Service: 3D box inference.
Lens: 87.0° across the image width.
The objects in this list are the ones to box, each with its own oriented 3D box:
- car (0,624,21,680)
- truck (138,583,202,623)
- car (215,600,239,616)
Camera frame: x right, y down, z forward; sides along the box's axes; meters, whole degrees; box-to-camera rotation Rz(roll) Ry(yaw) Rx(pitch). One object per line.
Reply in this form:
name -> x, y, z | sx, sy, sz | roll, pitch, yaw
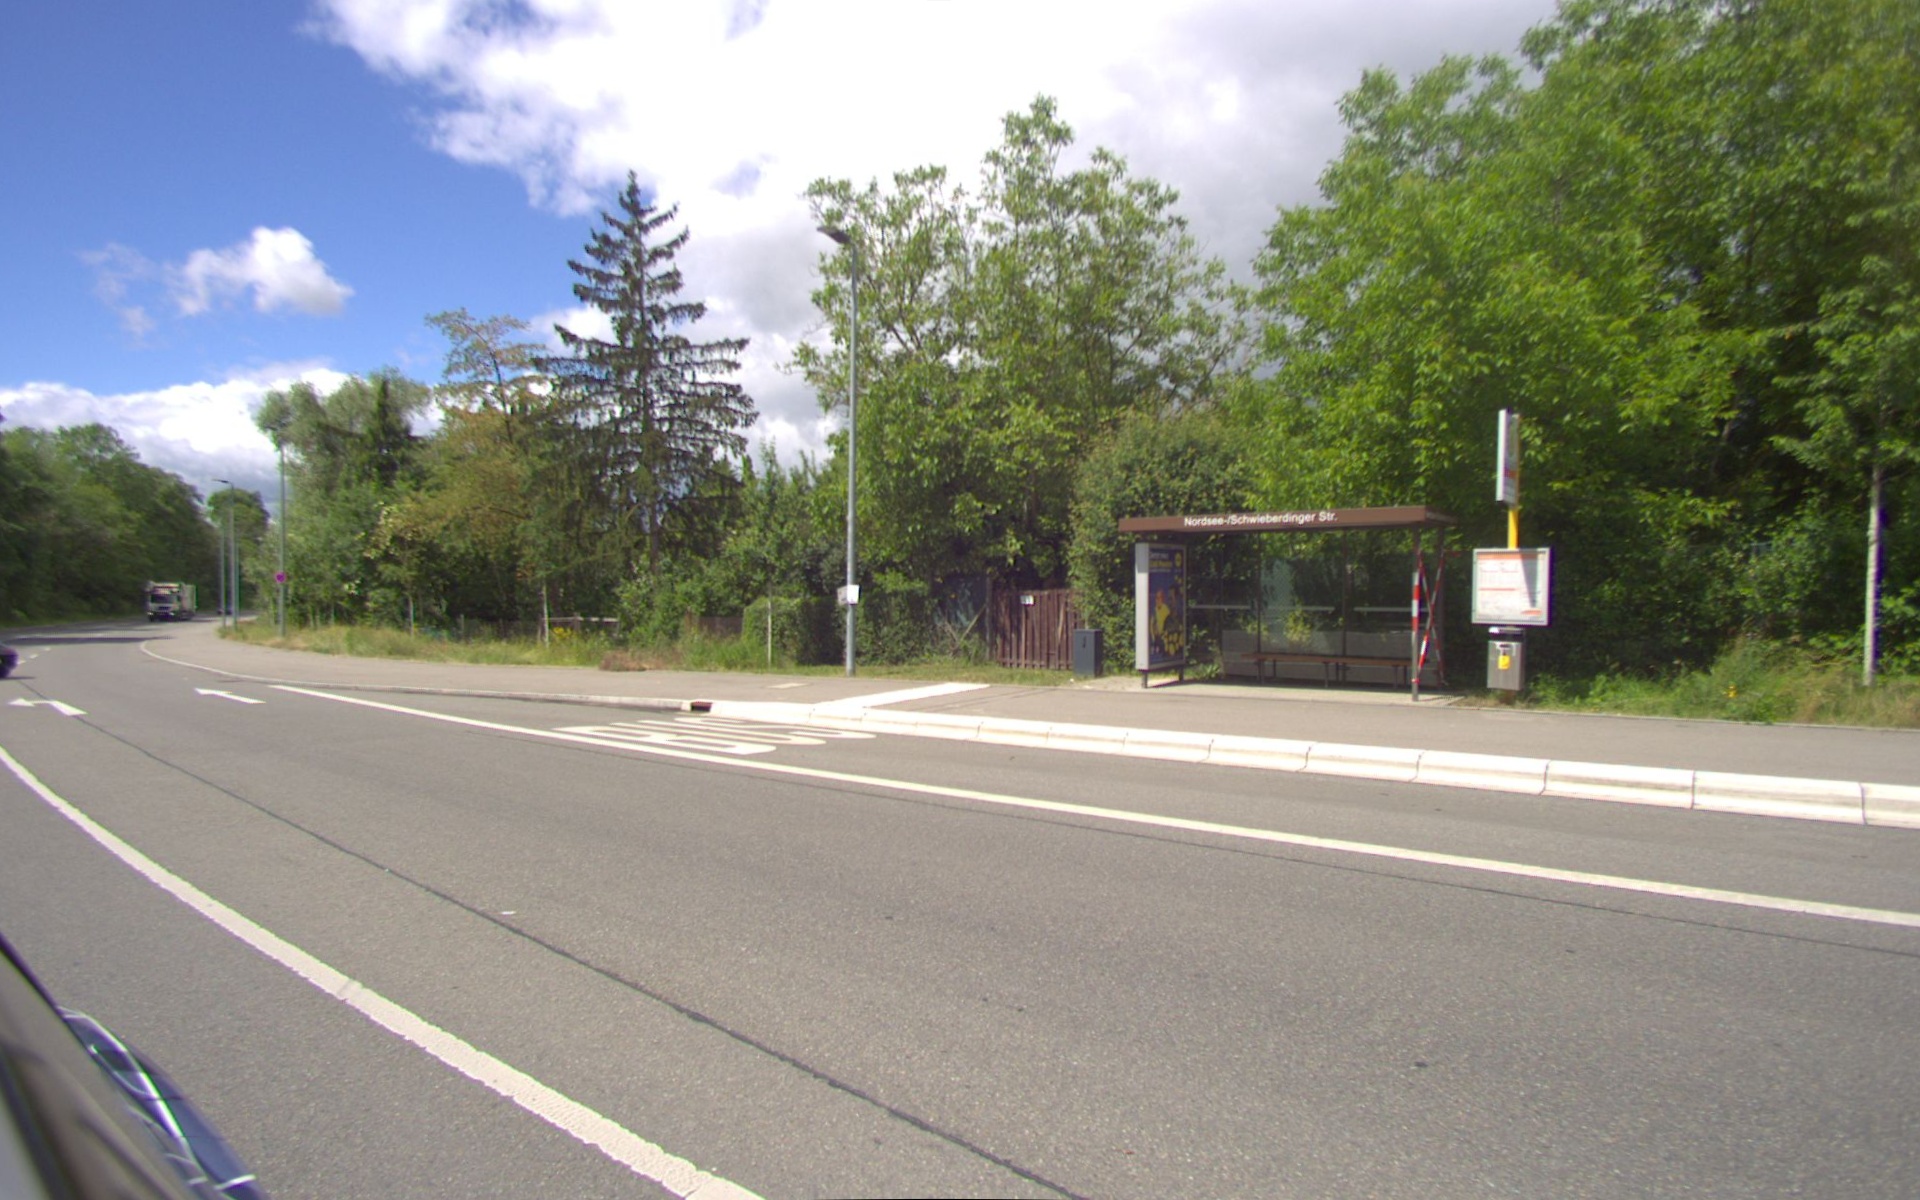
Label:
car -> -24.655, 1.243, 24.137 | 3.974, 1.311, 1.728 | 0, 0, 20
truck -> -80.905, 0.278, 103.828 | 3.187, 3.889, 9.906 | 1, 0, -26
car -> -94.552, 0.981, 130.601 | 1.965, 2.029, 4.013 | 1, 0, -28
